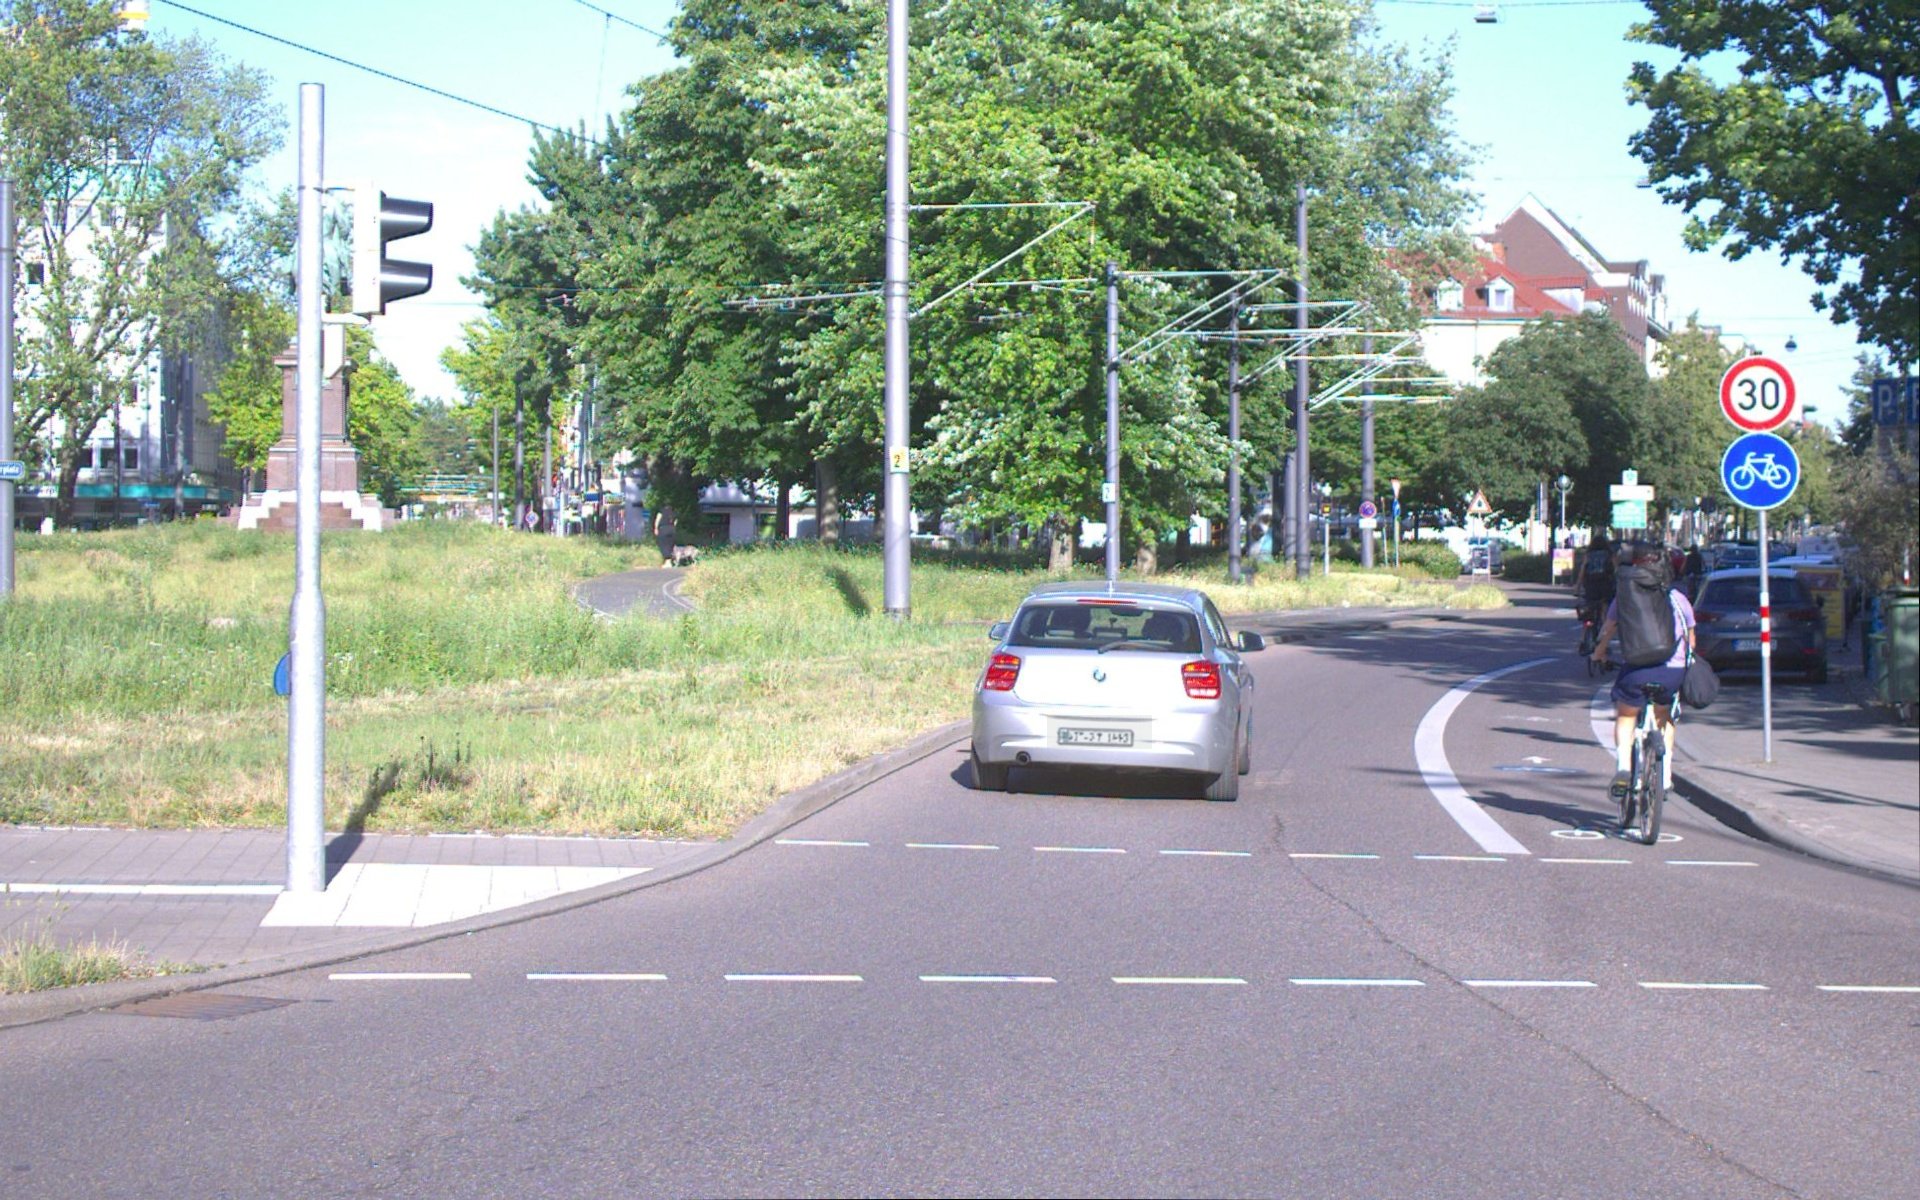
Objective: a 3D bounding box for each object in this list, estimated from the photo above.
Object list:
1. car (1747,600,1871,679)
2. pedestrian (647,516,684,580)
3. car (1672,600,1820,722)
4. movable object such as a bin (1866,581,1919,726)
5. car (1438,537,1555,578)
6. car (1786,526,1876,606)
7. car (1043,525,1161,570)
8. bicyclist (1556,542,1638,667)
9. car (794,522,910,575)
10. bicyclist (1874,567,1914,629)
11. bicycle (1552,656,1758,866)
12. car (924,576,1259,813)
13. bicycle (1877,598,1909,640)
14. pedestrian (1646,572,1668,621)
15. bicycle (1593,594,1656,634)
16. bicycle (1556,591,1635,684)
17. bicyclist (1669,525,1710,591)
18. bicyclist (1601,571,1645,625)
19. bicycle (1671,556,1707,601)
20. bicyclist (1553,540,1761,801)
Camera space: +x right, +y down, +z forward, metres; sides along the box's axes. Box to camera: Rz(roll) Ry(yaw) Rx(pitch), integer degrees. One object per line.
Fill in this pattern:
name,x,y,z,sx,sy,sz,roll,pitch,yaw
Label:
car,15.952,0.748,64.462,1.853,1.339,4.595,2,0,19
pedestrian,-7.571,-1.325,88.365,0.673,1.610,0.555,3,0,-36
car,10.207,0.742,44.496,1.766,1.433,4.580,0,1,14
movable object such as a bin,9.581,0.539,33.584,1.281,1.387,0.921,2,0,10
car,26.587,-2.083,170.486,5.262,1.794,2.164,2,0,-10
car,21.702,-0.827,85.558,1.995,1.806,4.306,2,0,16
car,7.135,-2.623,172.522,5.574,2.007,1.818,2,0,-10
bicyclist,8.566,0.069,46.199,0.940,1.628,0.934,2,0,16
car,-5.239,-2.487,165.866,5.335,2.306,2.000,2,0,-7
bicyclist,20.463,-0.039,75.325,0.759,1.322,0.993,2,0,18
bicycle,4.149,0.934,20.689,0.885,1.132,2.228,2,0,4
car,1.010,0.609,23.892,1.994,1.418,4.195,2,0,6
bicycle,20.441,0.421,75.304,0.535,0.888,2.068,2,0,18
pedestrian,23.715,-0.117,116.990,0.636,1.666,0.692,2,0,17
bicycle,18.840,0.382,97.470,0.809,1.065,2.584,2,0,-11
bicycle,8.556,0.505,46.218,0.820,1.181,1.963,2,0,16
bicyclist,16.631,-0.960,78.363,0.787,1.448,1.095,2,0,15
bicyclist,18.827,-0.056,97.570,0.928,1.502,0.826,2,0,-11
bicycle,16.632,-0.478,78.409,0.653,0.955,2.696,2,0,15
bicyclist,4.151,0.412,20.550,1.038,1.479,0.988,2,0,4
